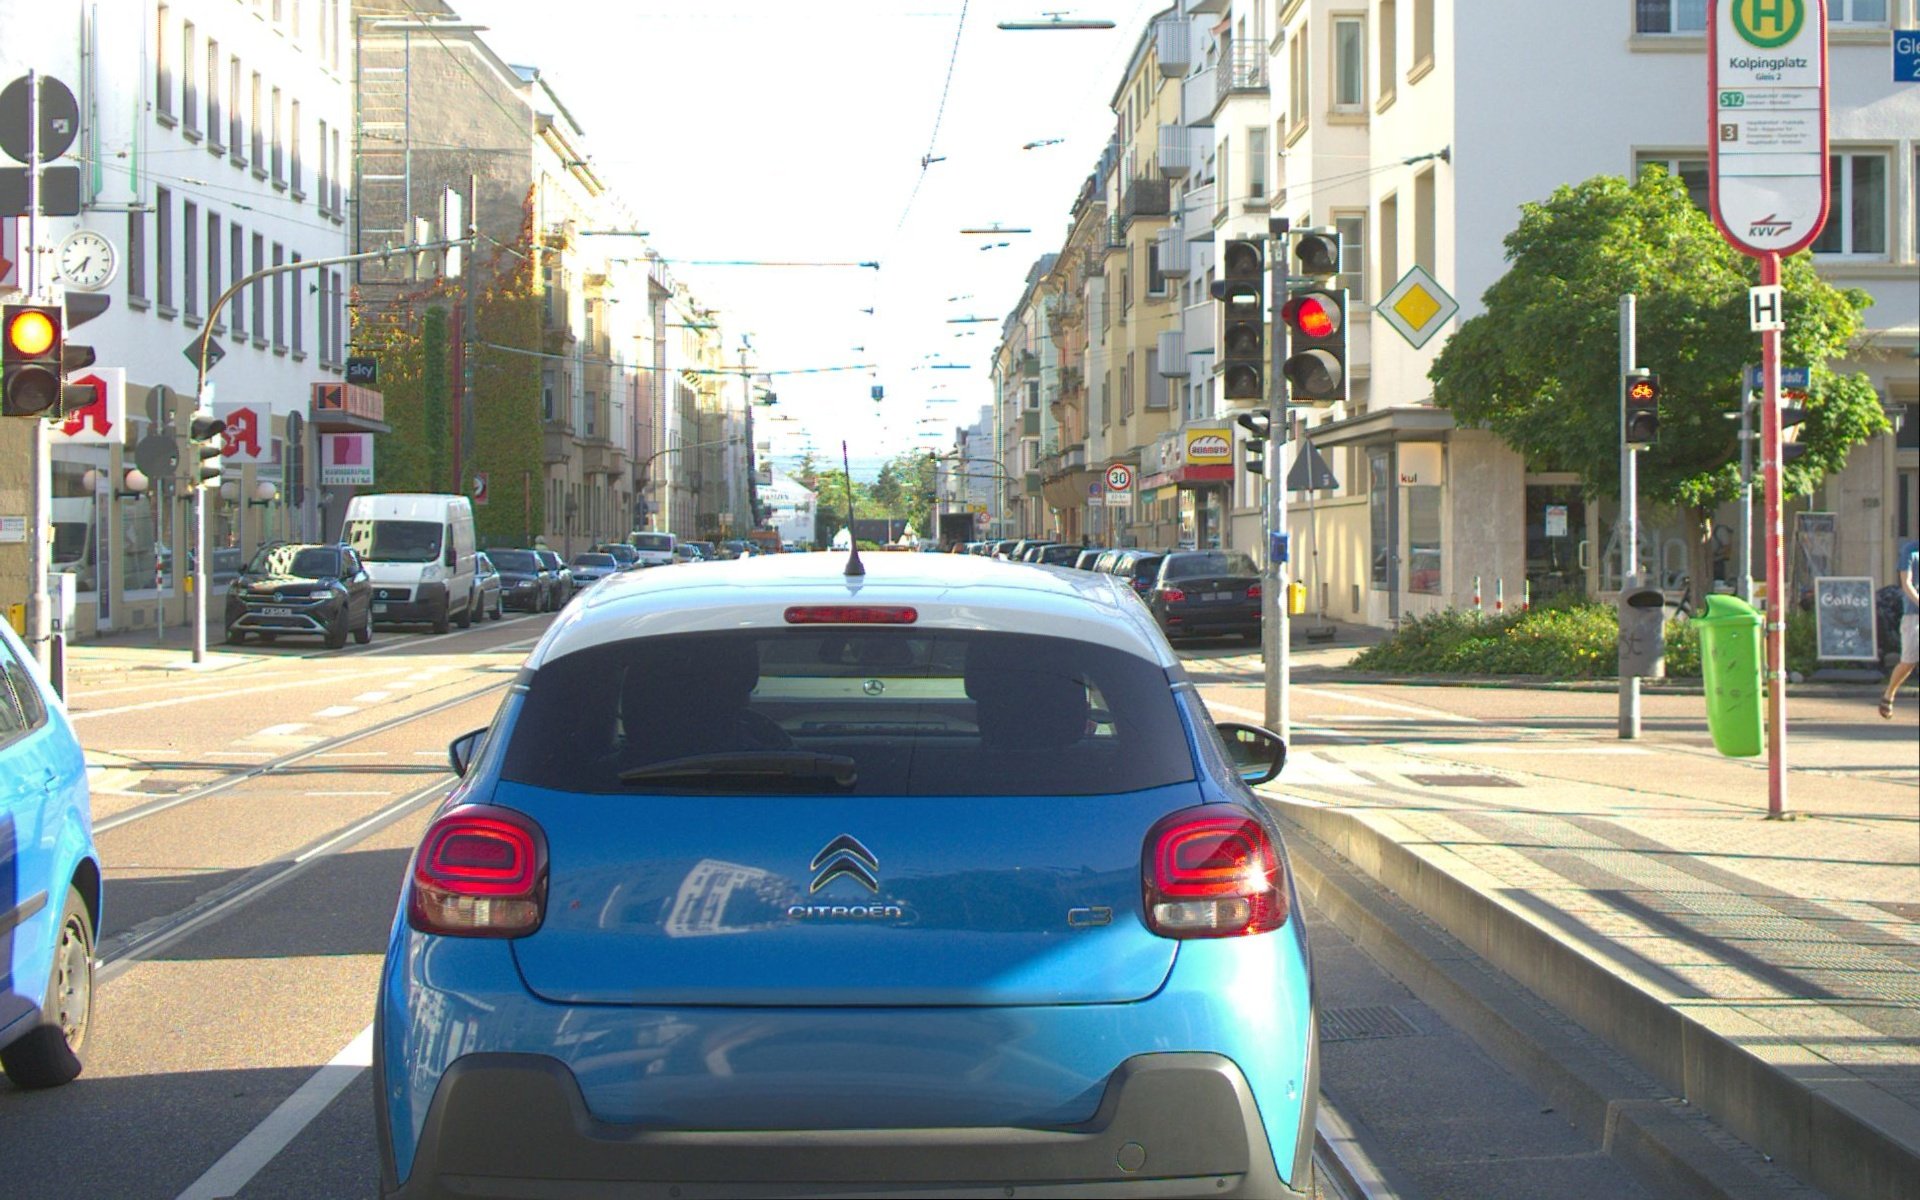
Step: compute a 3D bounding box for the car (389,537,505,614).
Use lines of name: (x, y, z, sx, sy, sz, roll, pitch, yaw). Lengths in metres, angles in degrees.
car: (-10.383, -0.507, 69.769, 1.888, 1.491, 3.562, 1, 0, -2)

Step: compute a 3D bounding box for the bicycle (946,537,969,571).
bicycle: (-0.103, -1.921, 142.608, 0.920, 1.384, 3.132, 0, 1, 0)

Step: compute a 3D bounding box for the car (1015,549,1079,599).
car: (2.784, -0.838, 109.543, 1.993, 1.546, 4.000, 0, 1, 2)

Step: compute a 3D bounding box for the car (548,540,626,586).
car: (-11.200, -1.111, 103.388, 1.993, 1.320, 3.923, 1, 0, -2)

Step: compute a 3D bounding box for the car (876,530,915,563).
car: (-3.396, -2.842, 181.904, 1.993, 1.766, 4.000, 0, 1, -1)

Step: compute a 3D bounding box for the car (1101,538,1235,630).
car: (3.417, -0.290, 57.174, 1.993, 1.459, 4.000, 0, 1, 0)

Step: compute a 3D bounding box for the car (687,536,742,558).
car: (-13.195, -2.839, 185.033, 1.994, 1.152, 4.513, 0, 1, 9)

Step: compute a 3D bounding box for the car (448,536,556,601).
car: (-10.376, -0.716, 78.171, 1.993, 1.393, 4.157, 1, 0, -2)

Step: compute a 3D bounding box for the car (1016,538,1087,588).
car: (2.702, -1.103, 102.241, 1.993, 1.459, 4.504, 0, 1, 0)

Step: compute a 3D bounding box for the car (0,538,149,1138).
car: (-3.202, 0.597, 8.179, 1.667, 1.482, 4.000, 0, 1, -1)

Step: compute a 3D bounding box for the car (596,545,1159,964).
car: (-0.328, 0.514, 14.676, 1.984, 1.459, 4.816, 1, 1, -1)

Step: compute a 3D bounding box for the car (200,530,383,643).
car: (-10.178, -0.221, 52.625, 1.993, 1.563, 4.403, 3, 0, -2)

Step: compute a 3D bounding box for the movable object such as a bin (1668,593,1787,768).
movable object such as a bin: (3.506, 0.361, 15.726, 0.449, 0.783, 0.489, 0, 1, 2)

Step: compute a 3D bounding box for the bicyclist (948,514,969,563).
bicyclist: (-0.067, -2.541, 142.567, 0.809, 2.007, 0.922, 1, 0, -1)

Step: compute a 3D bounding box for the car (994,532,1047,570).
car: (2.321, -1.911, 133.469, 1.993, 1.459, 4.000, 0, 1, 0)

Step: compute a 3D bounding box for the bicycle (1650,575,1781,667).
bicycle: (9.409, 0.262, 42.827, 1.568, 1.117, 0.300, 1, 0, 11)

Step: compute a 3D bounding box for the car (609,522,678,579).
car: (-11.658, -1.814, 127.038, 2.006, 2.007, 4.689, 1, 0, 1)

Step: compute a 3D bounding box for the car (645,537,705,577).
car: (-11.328, -1.696, 136.840, 1.955, 1.547, 3.938, 1, 0, 2)

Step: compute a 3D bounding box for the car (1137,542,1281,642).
car: (3.763, -0.148, 52.598, 1.909, 1.459, 4.000, 0, 1, 0)

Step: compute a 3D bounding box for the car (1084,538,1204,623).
car: (3.338, -0.381, 63.140, 1.993, 1.496, 4.000, 0, 1, 0)

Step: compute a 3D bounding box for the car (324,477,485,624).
car: (-10.088, -0.912, 62.912, 2.085, 2.533, 6.206, 1, 1, -2)

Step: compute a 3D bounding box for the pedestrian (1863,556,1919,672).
pedestrian: (10.752, 0.157, 39.329, 0.741, 1.311, 0.627, 0, 1, 23)

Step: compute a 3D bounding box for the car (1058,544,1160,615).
car: (3.155, -0.453, 73.356, 1.993, 1.459, 4.000, 0, 1, 0)

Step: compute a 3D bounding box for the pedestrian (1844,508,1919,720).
pedestrian: (8.600, 0.124, 30.909, 0.981, 1.871, 1.129, 0, 0, -3)

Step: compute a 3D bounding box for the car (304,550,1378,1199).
car: (-0.224, 0.650, 7.497, 1.728, 1.477, 3.827, 1, 1, -1)
